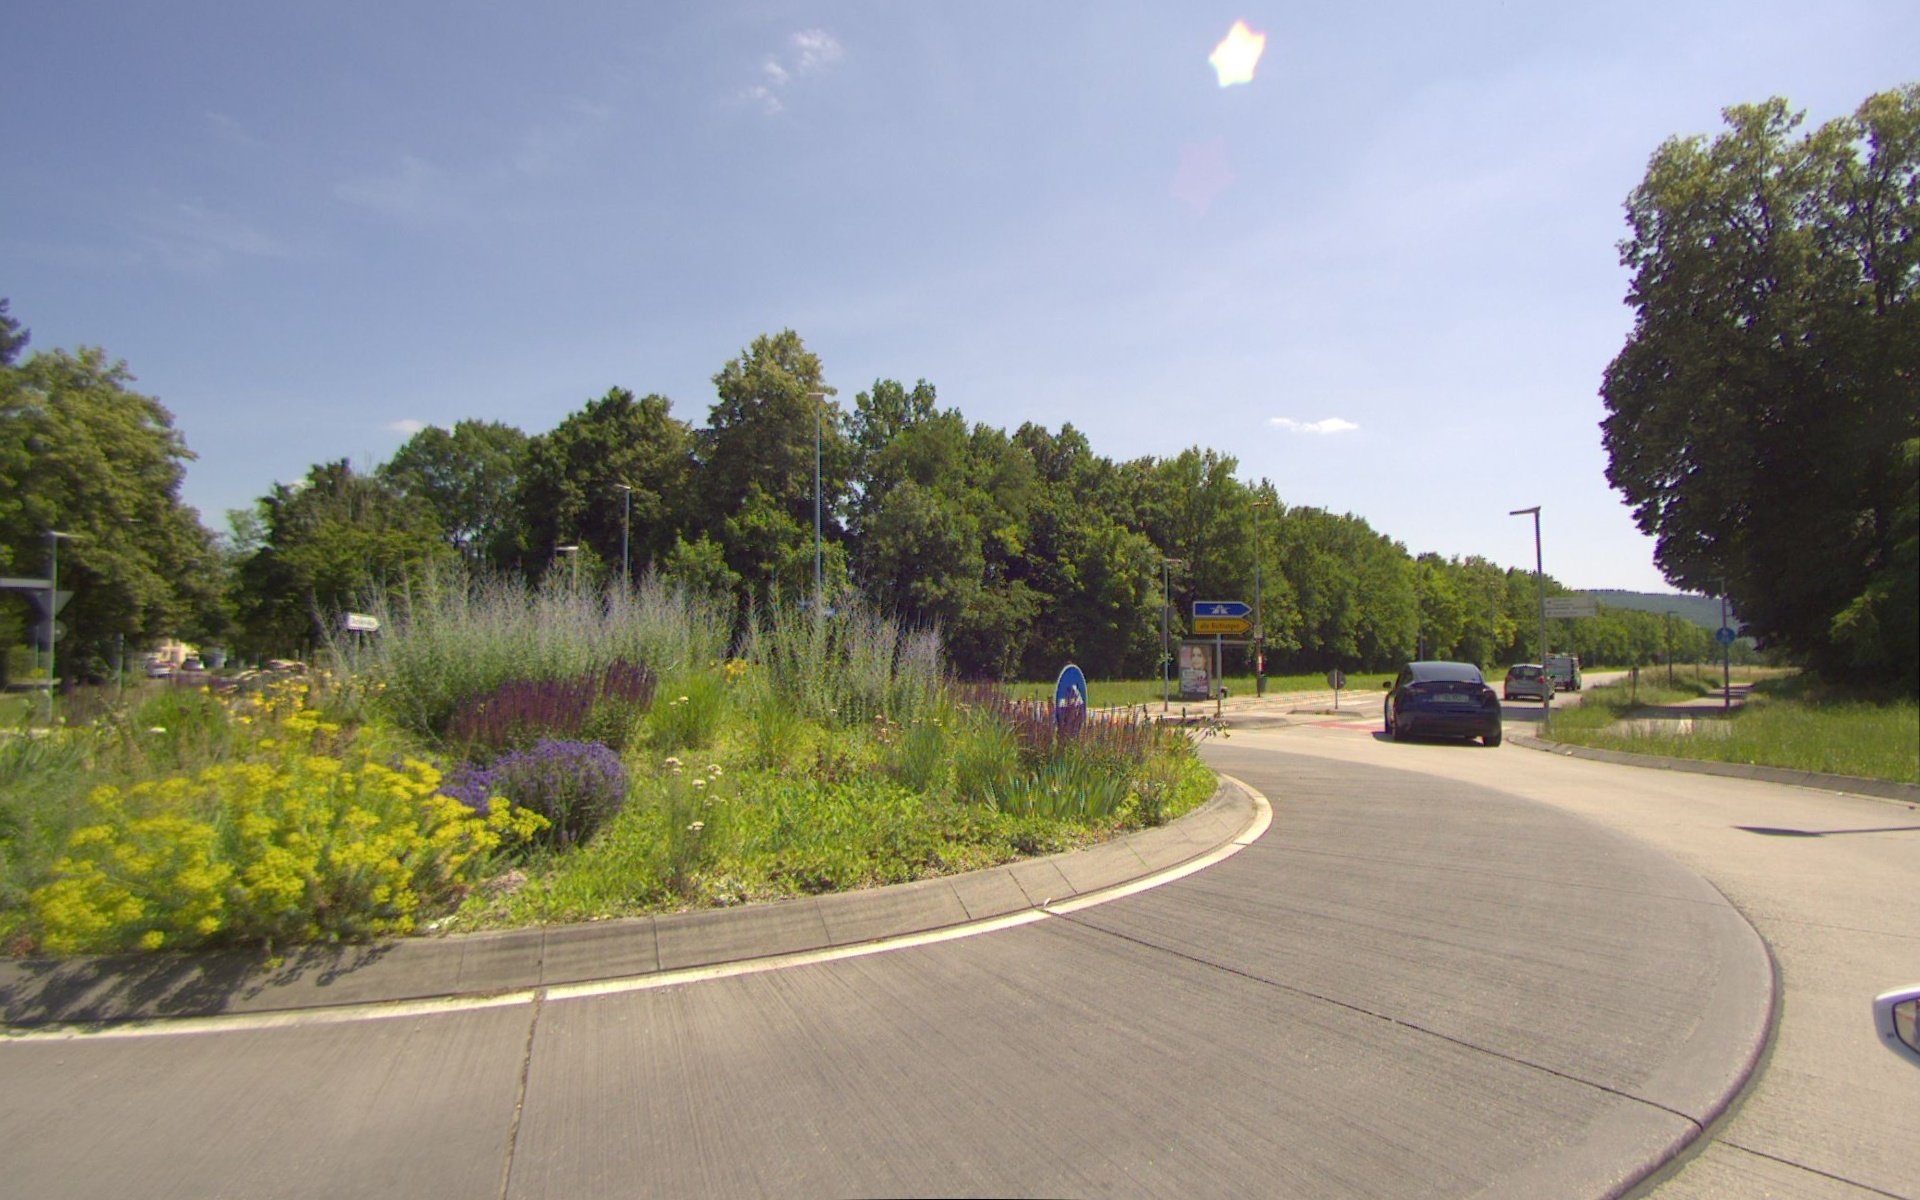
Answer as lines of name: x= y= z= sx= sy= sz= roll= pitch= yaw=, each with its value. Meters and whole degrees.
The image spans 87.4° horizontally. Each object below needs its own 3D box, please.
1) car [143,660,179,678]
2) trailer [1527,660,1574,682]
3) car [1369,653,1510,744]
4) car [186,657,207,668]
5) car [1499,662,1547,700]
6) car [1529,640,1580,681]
car: x=-78.154 y=6.763 z=98.251 sx=3.940 sy=1.654 sz=1.991 roll=-1 pitch=-4 yaw=40
trailer: x=33.233 y=3.978 z=56.479 sx=2.092 sy=1.111 sz=3.346 roll=-1 pitch=-4 yaw=33
car: x=9.890 y=1.955 z=21.083 sx=1.960 sy=1.661 sz=4.760 roll=-1 pitch=-3 yaw=17
car: x=-118.299 y=9.710 z=155.614 sx=3.946 sy=1.654 sz=1.988 roll=-2 pitch=-4 yaw=44
car: x=25.716 y=3.656 z=45.813 sx=1.759 sy=1.627 sz=4.119 roll=-1 pitch=-3 yaw=32
car: x=35.509 y=3.599 z=59.940 sx=2.138 sy=2.346 sz=4.964 roll=-1 pitch=-4 yaw=36
